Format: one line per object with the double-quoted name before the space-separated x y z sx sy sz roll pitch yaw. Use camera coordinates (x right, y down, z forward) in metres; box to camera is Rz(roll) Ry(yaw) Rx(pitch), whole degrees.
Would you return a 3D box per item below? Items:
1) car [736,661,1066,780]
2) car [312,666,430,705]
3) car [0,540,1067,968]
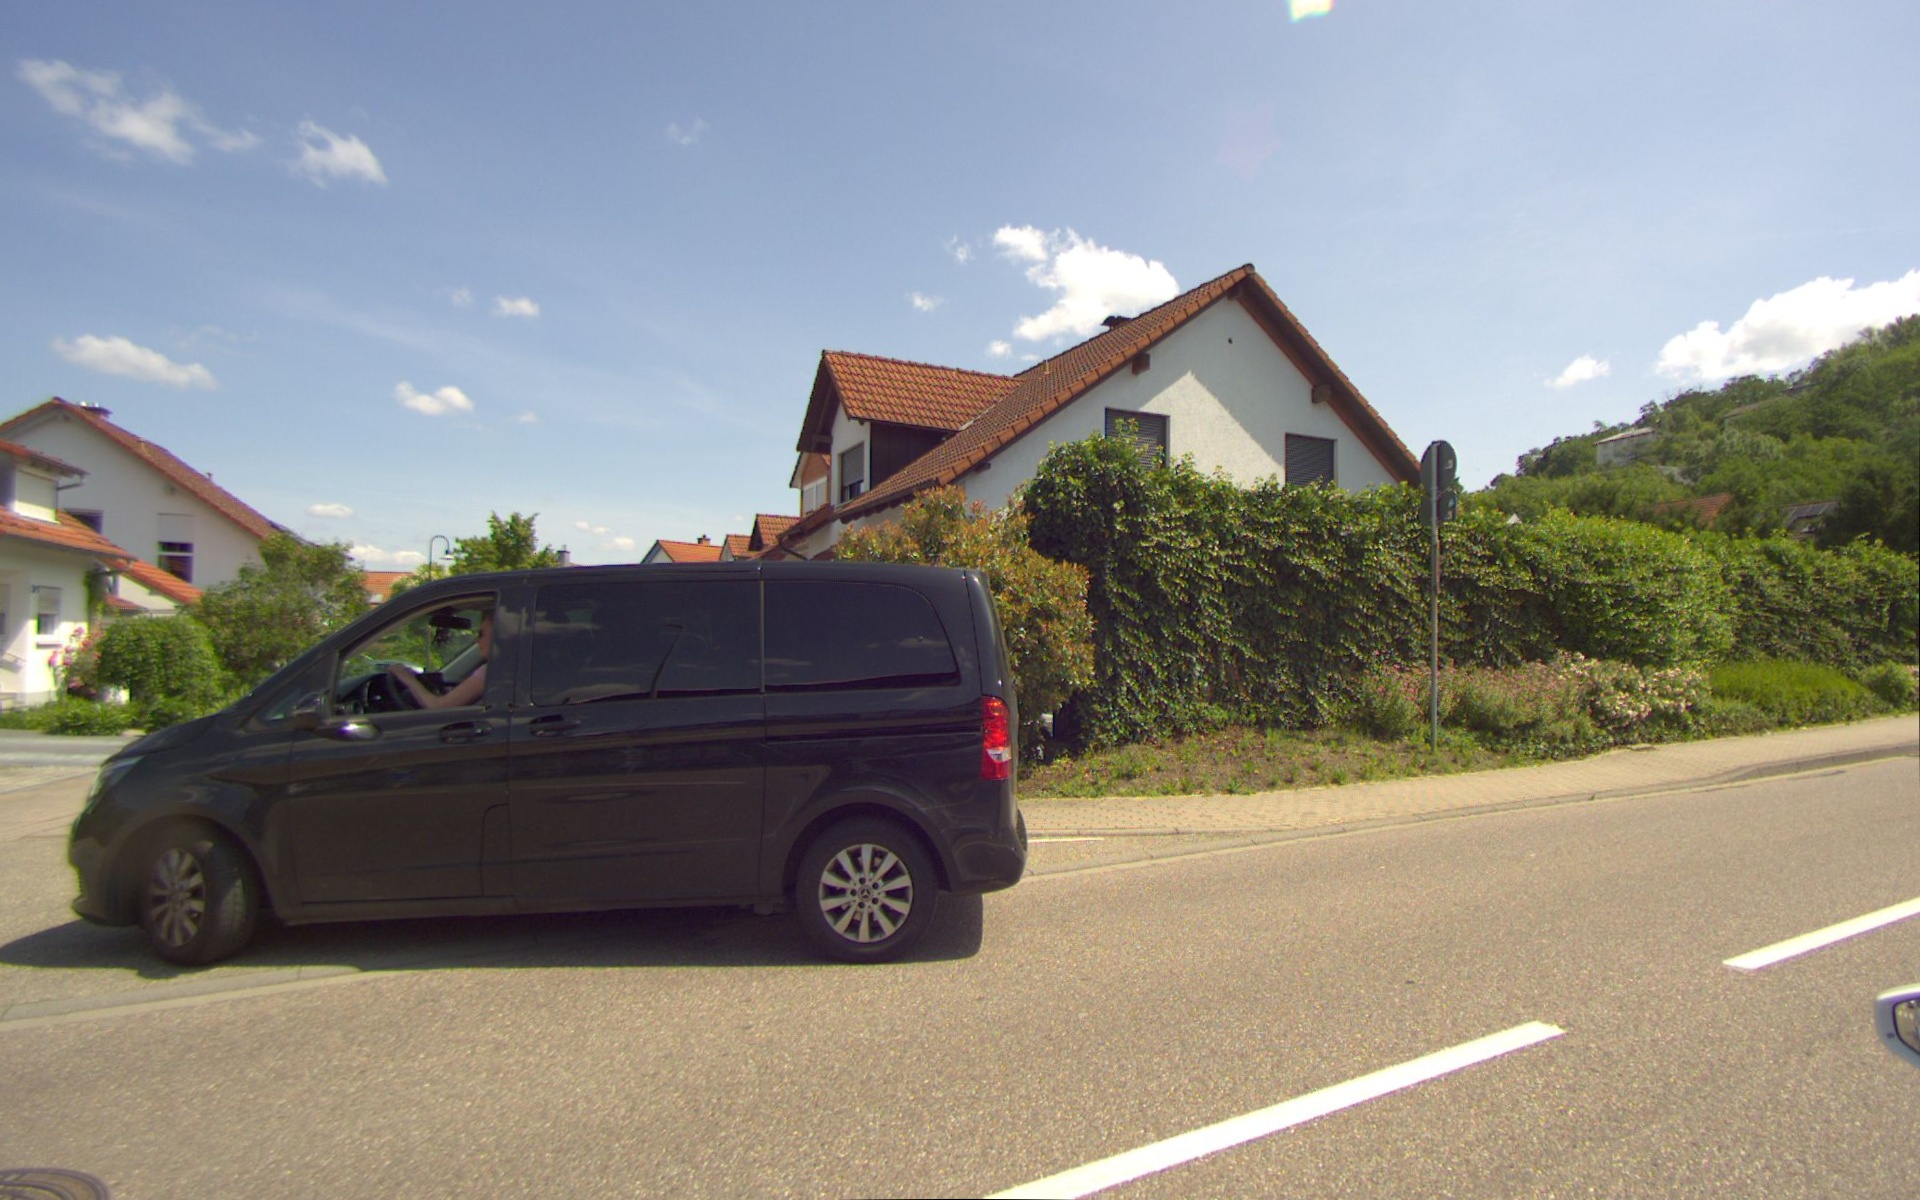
"car" -0.743 1.471 12.971 3.948 1.302 1.655 1 -4 -27
"car" -19.584 2.814 33.519 3.234 1.200 1.494 1 -3 -25
"car" -1.990 0.740 5.491 4.968 1.876 2.001 0 -3 1
